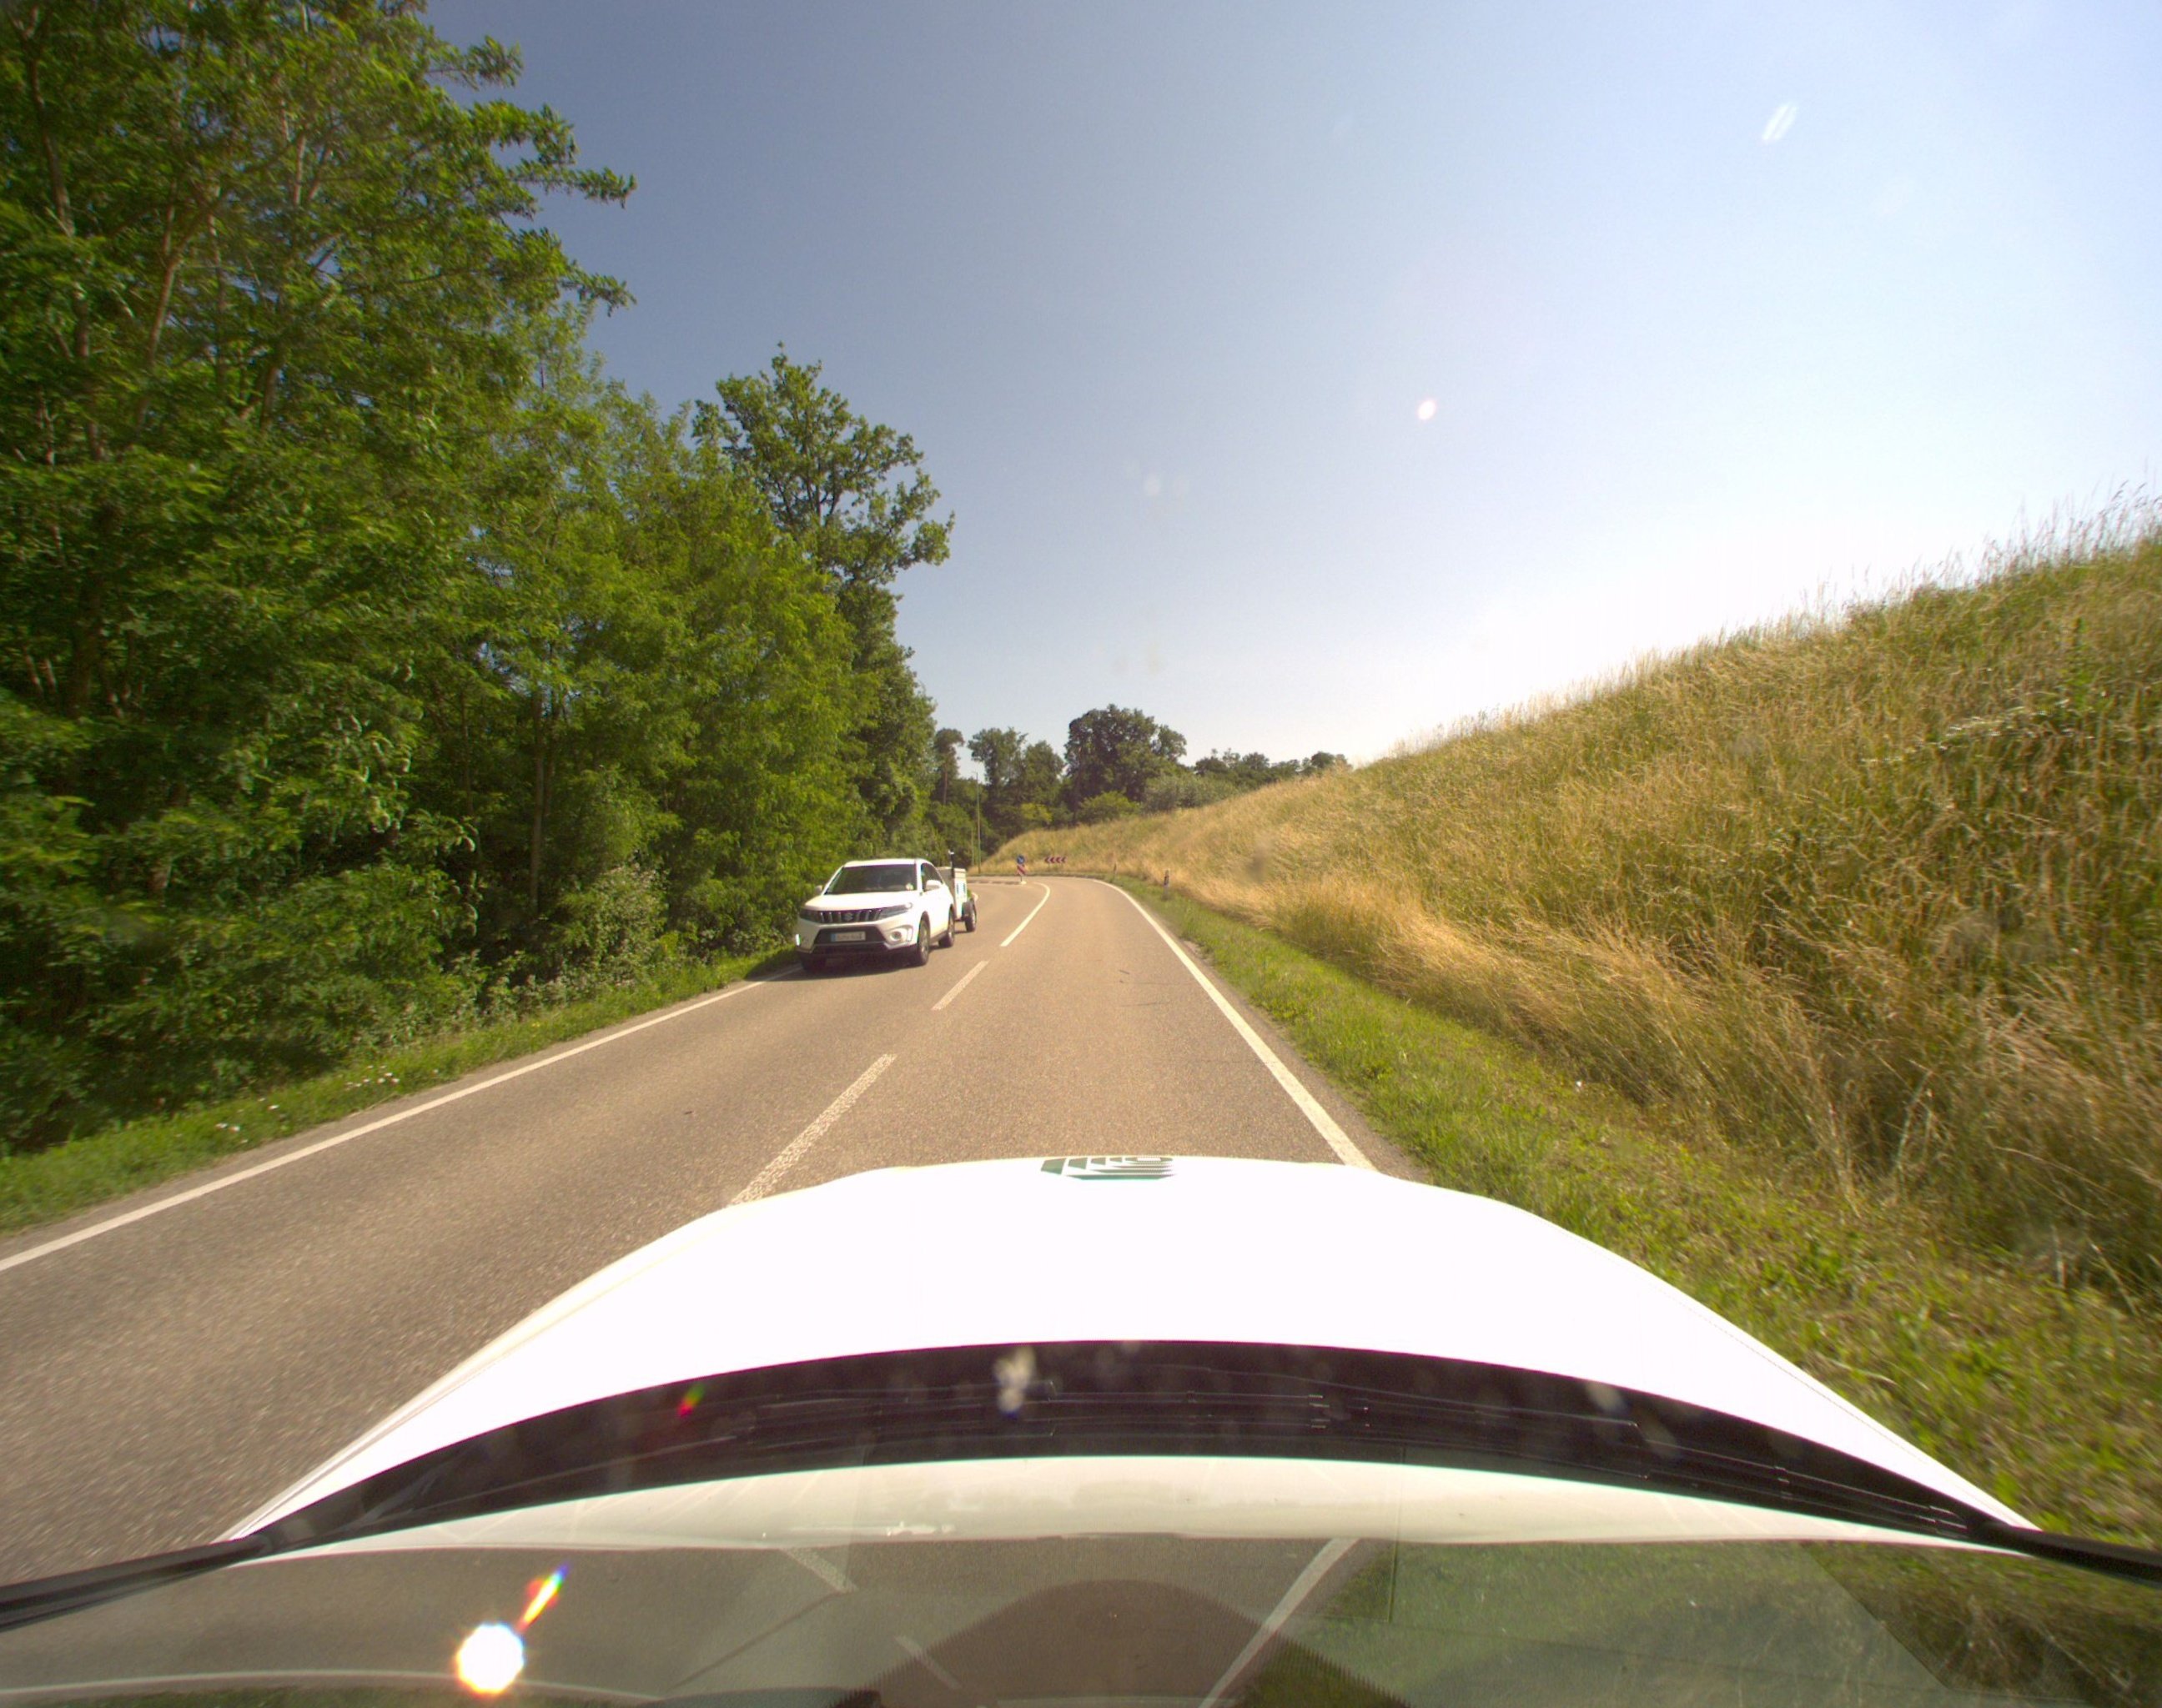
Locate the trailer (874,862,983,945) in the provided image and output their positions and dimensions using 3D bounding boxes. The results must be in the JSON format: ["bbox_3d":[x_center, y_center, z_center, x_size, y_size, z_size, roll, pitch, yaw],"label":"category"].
[{"bbox_3d":[-3.028,0.942,16.758,1.554,1.441,3.268,-3,0,0],"label":"trailer"}]

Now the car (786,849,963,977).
[{"bbox_3d":[-3.106,0.801,13.096,1.804,1.676,3.998,-2,0,-1],"label":"car"}]
